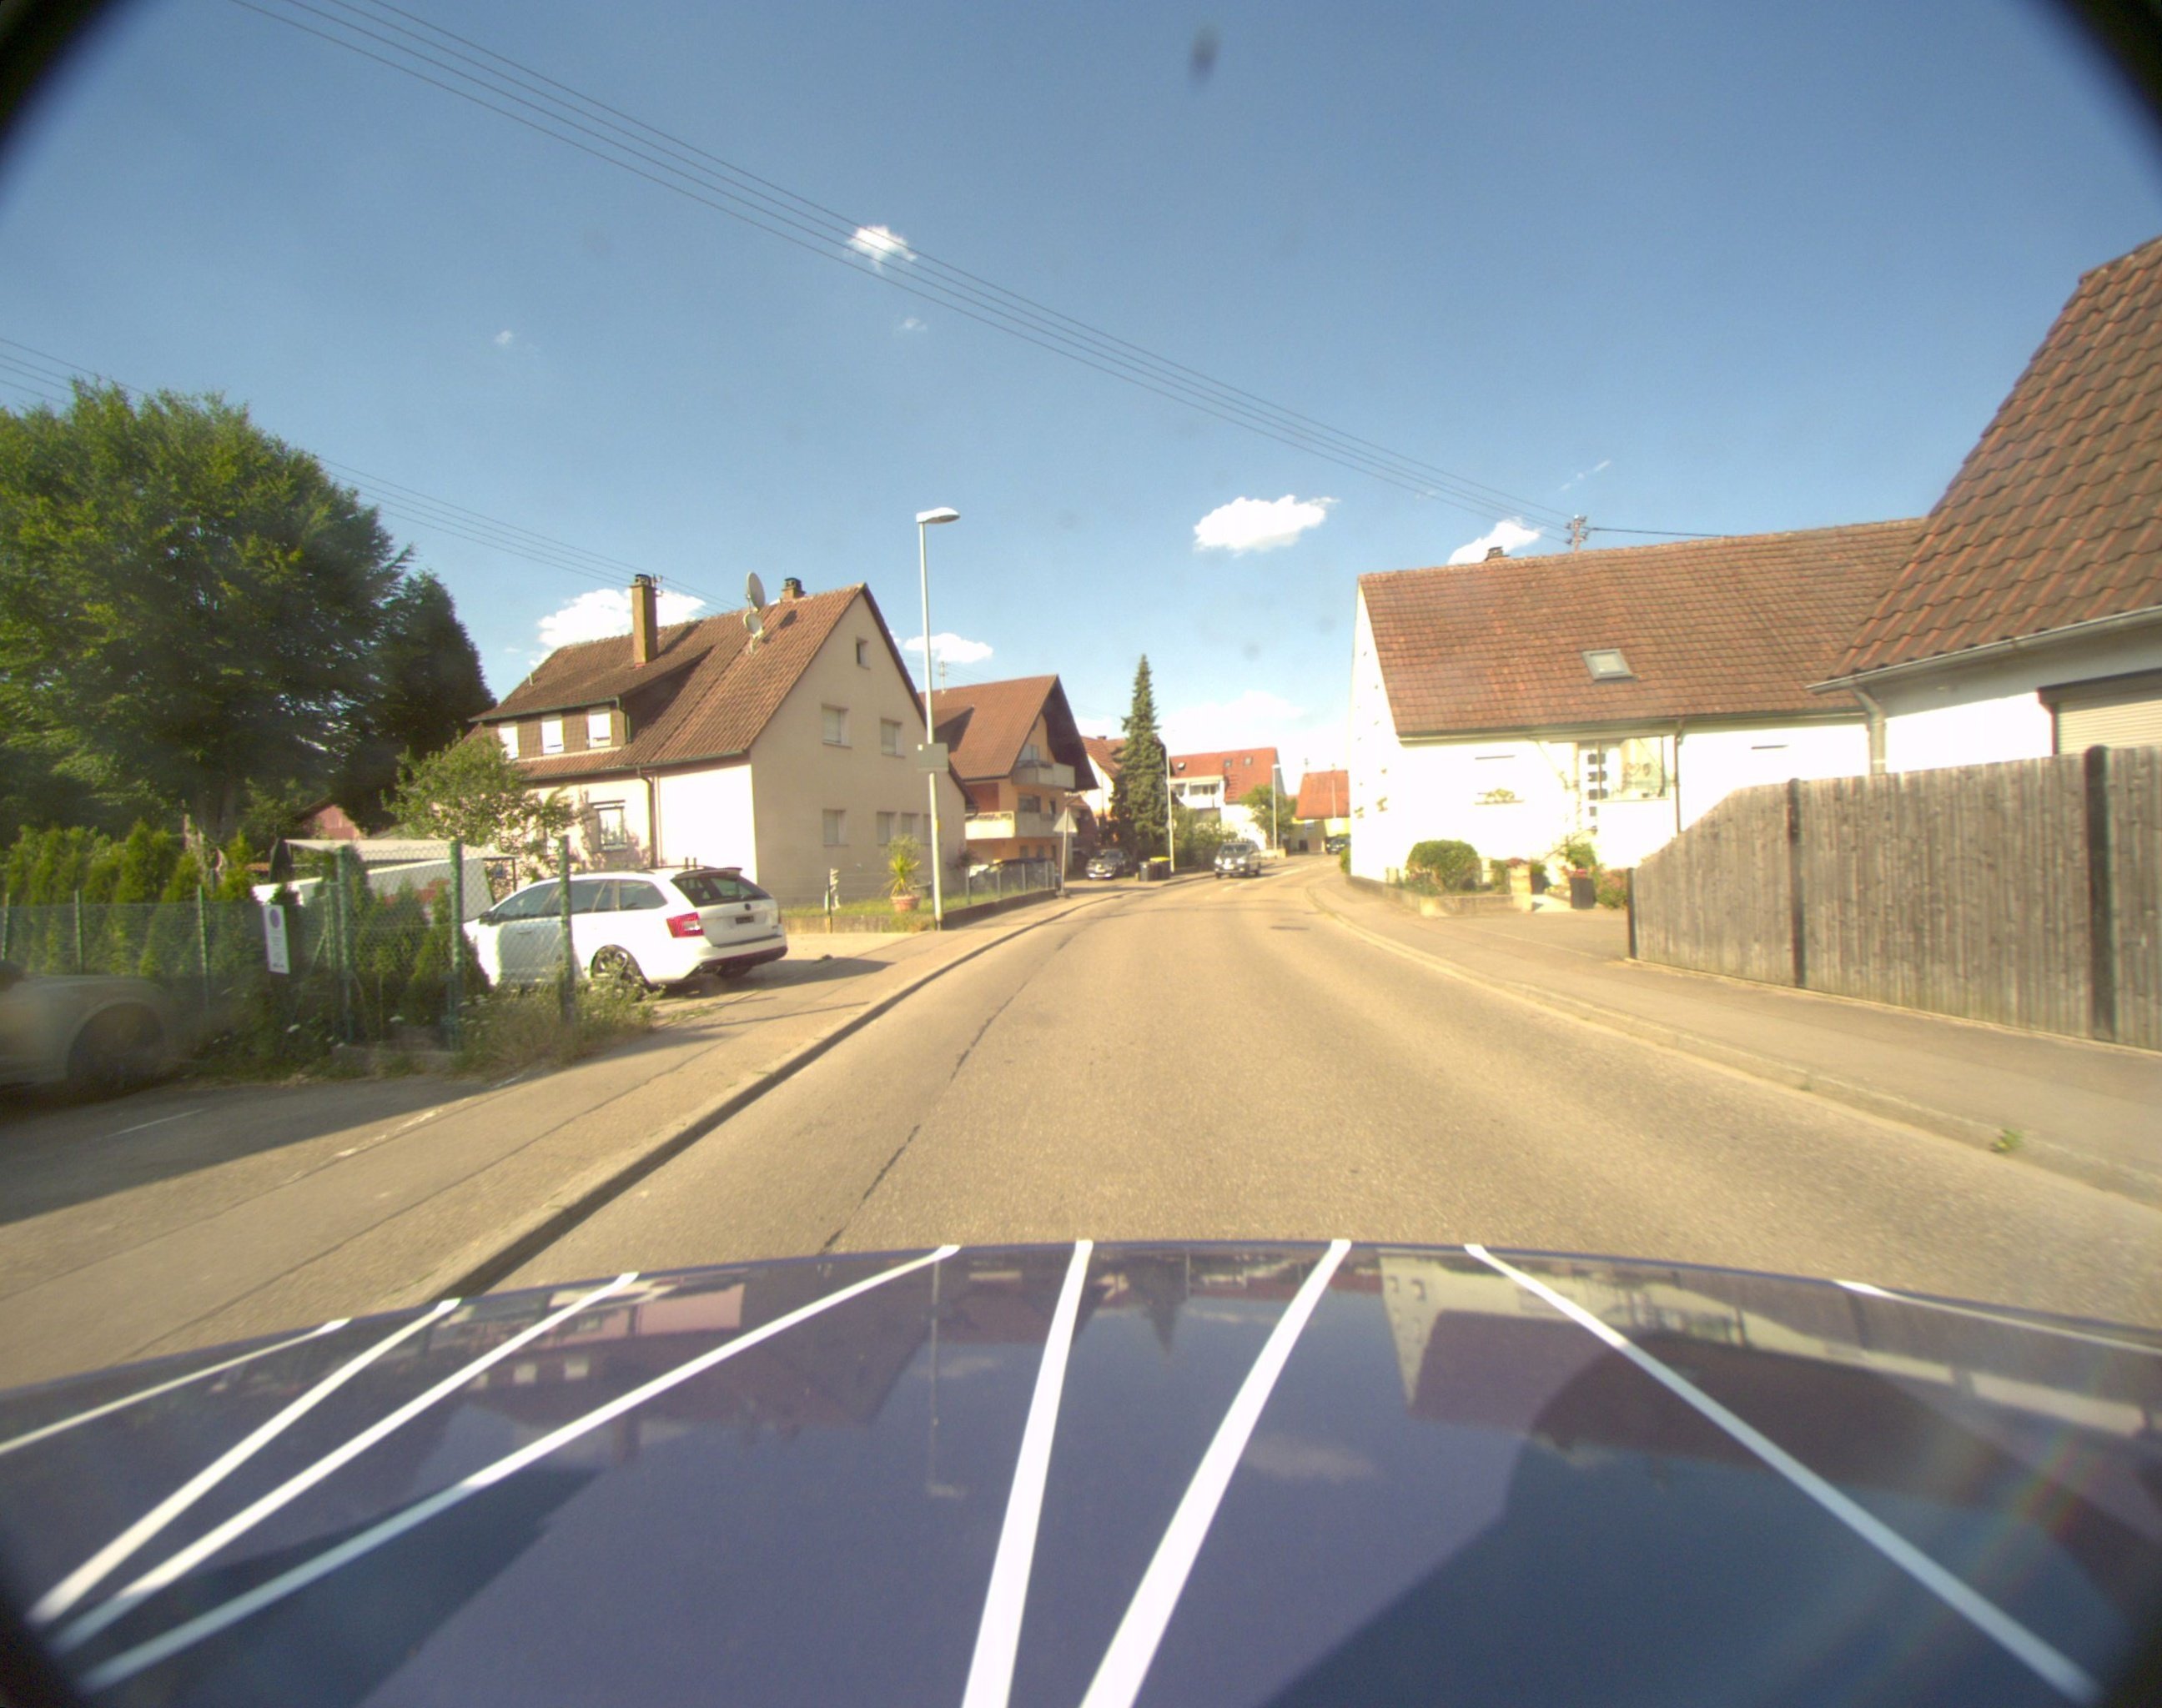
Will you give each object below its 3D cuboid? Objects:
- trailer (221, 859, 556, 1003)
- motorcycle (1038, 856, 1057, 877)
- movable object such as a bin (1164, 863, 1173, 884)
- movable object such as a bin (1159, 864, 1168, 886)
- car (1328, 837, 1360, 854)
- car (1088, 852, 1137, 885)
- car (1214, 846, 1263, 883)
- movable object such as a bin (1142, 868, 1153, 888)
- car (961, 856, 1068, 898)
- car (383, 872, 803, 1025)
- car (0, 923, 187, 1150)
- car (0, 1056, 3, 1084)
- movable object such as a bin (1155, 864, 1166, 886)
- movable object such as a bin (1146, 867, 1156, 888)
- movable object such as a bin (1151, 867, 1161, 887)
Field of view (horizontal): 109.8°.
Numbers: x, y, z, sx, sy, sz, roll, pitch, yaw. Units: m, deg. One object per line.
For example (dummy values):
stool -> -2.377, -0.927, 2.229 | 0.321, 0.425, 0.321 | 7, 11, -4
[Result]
trailer -> -9.826, 0.978, 11.079 | 1.522, 1.741, 3.222 | -2, -1, 21
motorcycle -> -1.848, 0.693, 42.028 | 0.375, 1.141, 1.648 | -2, -1, 22
movable object such as a bin -> 4.558, 1.012, 39.568 | 0.294, 1.102, 0.387 | -2, 0, 21
movable object such as a bin -> 4.237, 1.053, 38.942 | 0.335, 1.102, 0.440 | -2, 0, 21
car -> 26.499, -0.854, 76.475 | 1.968, 1.647, 4.008 | 0, 1, 37
car -> 1.706, 0.735, 39.568 | 1.645, 1.507, 3.805 | -3, 1, 16
car -> 9.113, 0.575, 43.585 | 1.817, 1.988, 4.829 | -2, -1, 22
movable object such as a bin -> 3.218, 1.154, 36.731 | 0.391, 0.975, 0.352 | -2, 0, 21
car -> -2.487, 0.855, 28.328 | 3.691, 1.426, 1.439 | -3, -1, 25
car -> -5.781, 1.046, 9.057 | 4.469, 1.449, 1.733 | -2, 0, 19
car -> -8.424, 1.427, 4.570 | 1.700, 1.510, 4.271 | -5, 1, -15
car -> -11.448, 1.616, 5.742 | 1.766, 1.535, 3.672 | -4, 1, -15
movable object such as a bin -> 4.014, 1.056, 38.385 | 0.382, 1.102, 0.375 | -2, 0, 21
movable object such as a bin -> 3.427, 1.152, 37.315 | 0.391, 0.975, 0.352 | -2, 0, 21
movable object such as a bin -> 3.745, 1.148, 37.949 | 0.391, 0.975, 0.352 | -2, 0, 21
